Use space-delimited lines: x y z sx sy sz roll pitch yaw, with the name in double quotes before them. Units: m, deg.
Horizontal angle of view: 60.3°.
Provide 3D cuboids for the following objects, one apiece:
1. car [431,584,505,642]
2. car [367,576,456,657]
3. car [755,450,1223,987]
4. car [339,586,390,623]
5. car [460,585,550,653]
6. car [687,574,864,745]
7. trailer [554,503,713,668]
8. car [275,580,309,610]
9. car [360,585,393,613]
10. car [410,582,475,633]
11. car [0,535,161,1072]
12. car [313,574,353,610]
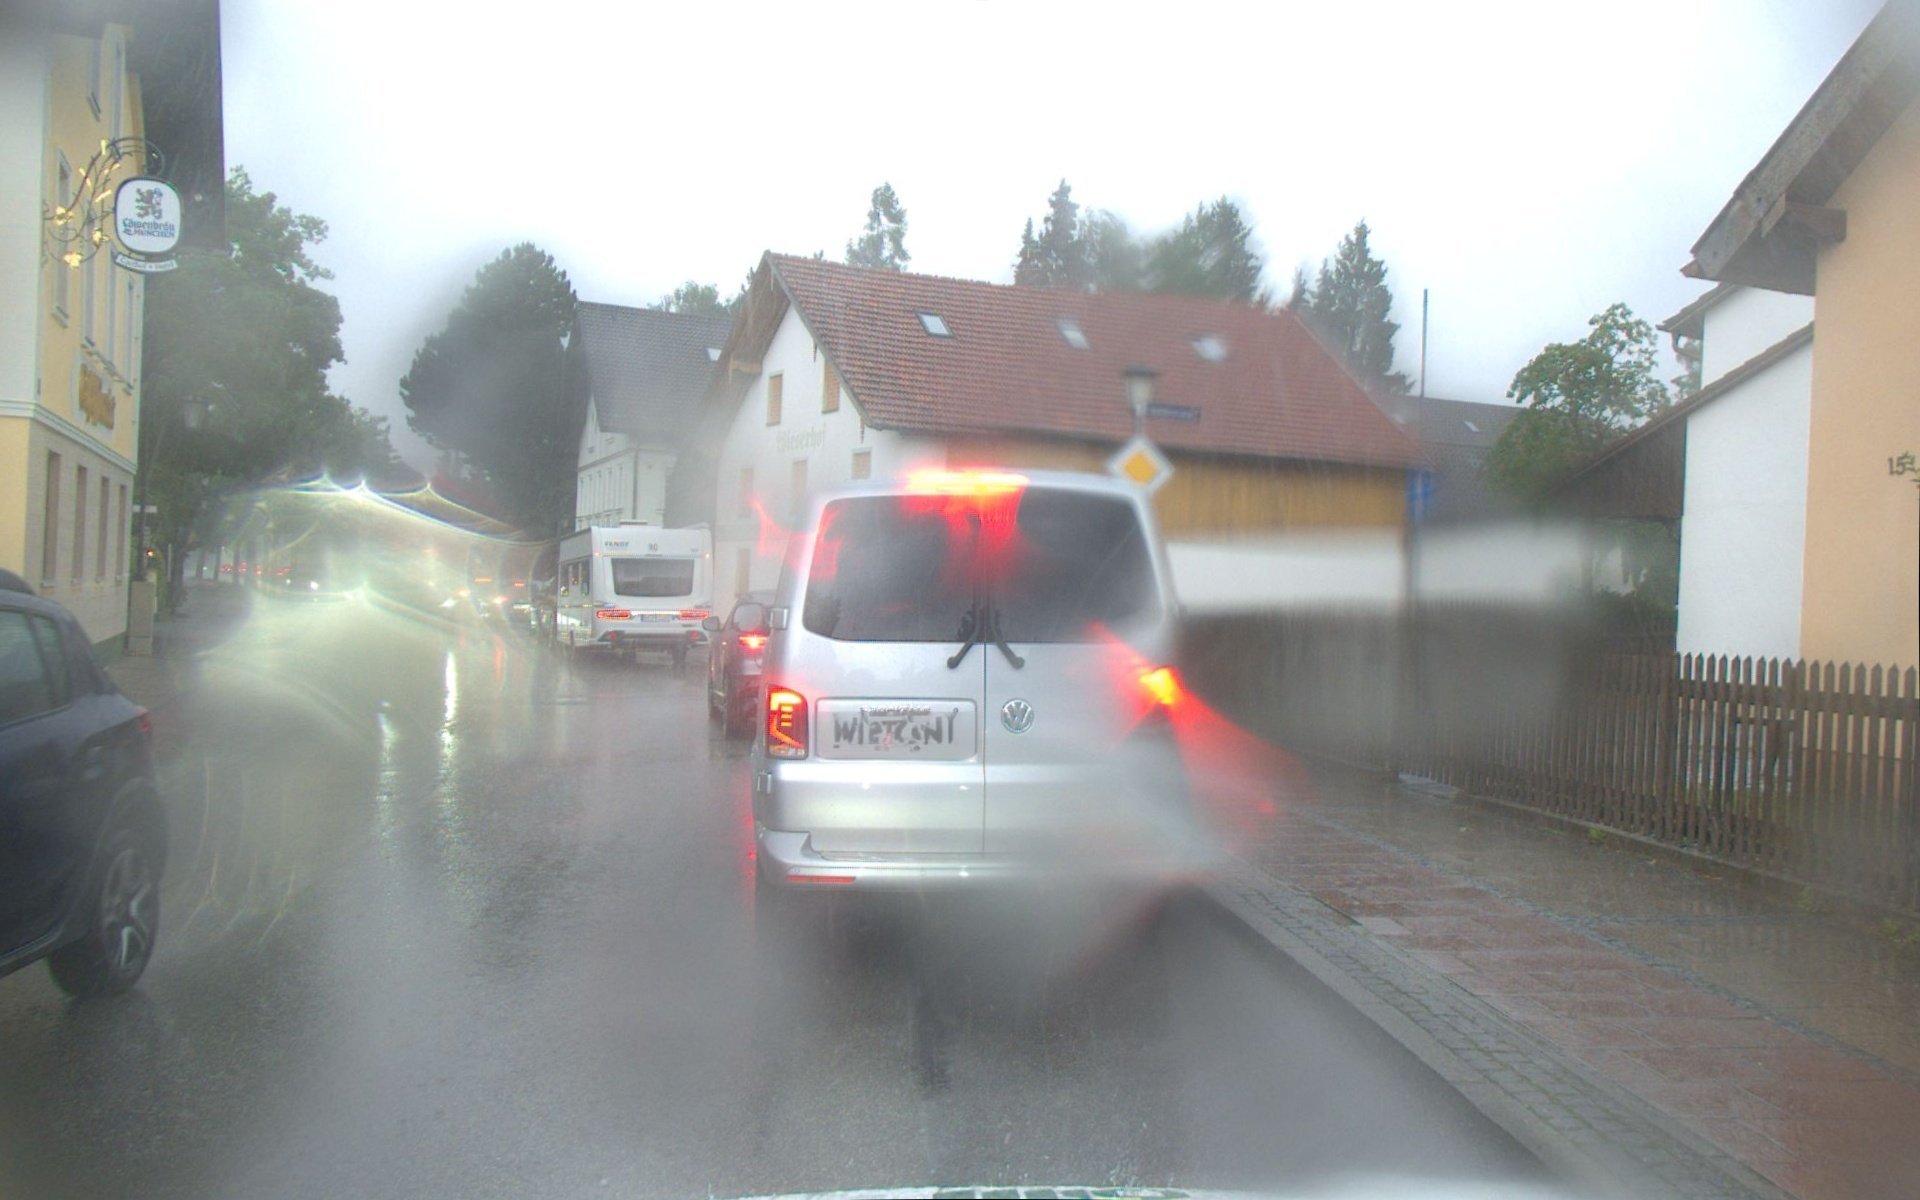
"car" -18.493 0.455 62.012 2.139 1.932 4.981 2 0 -22
"car" -14.391 0.415 43.248 1.826 2.006 4.667 0 0 -23
"car" 0.140 0.443 8.733 1.740 1.997 5.074 0 0 1
"car" -24.164 0.169 67.022 1.836 1.382 4.455 0 1 -21
"car" -14.632 0.563 53.000 2.139 1.932 4.981 2 0 -22
"car" -2.065 0.534 18.326 1.676 1.611 4.678 -1 1 -7
"trailer" -6.600 -0.265 32.786 2.237 2.955 6.098 1 0 -19
"car" -41.761 -0.350 103.415 1.836 1.788 4.455 -2 1 -21
"car" -45.468 -0.096 128.842 2.139 1.932 4.981 2 0 -22
"car" -21.889 0.291 69.839 2.139 1.932 4.981 2 0 -22
"car" -3.649 0.615 4.392 1.555 1.638 3.535 0 0 -5
"car" -32.568 -0.435 85.935 1.836 1.788 4.455 -2 1 -21
